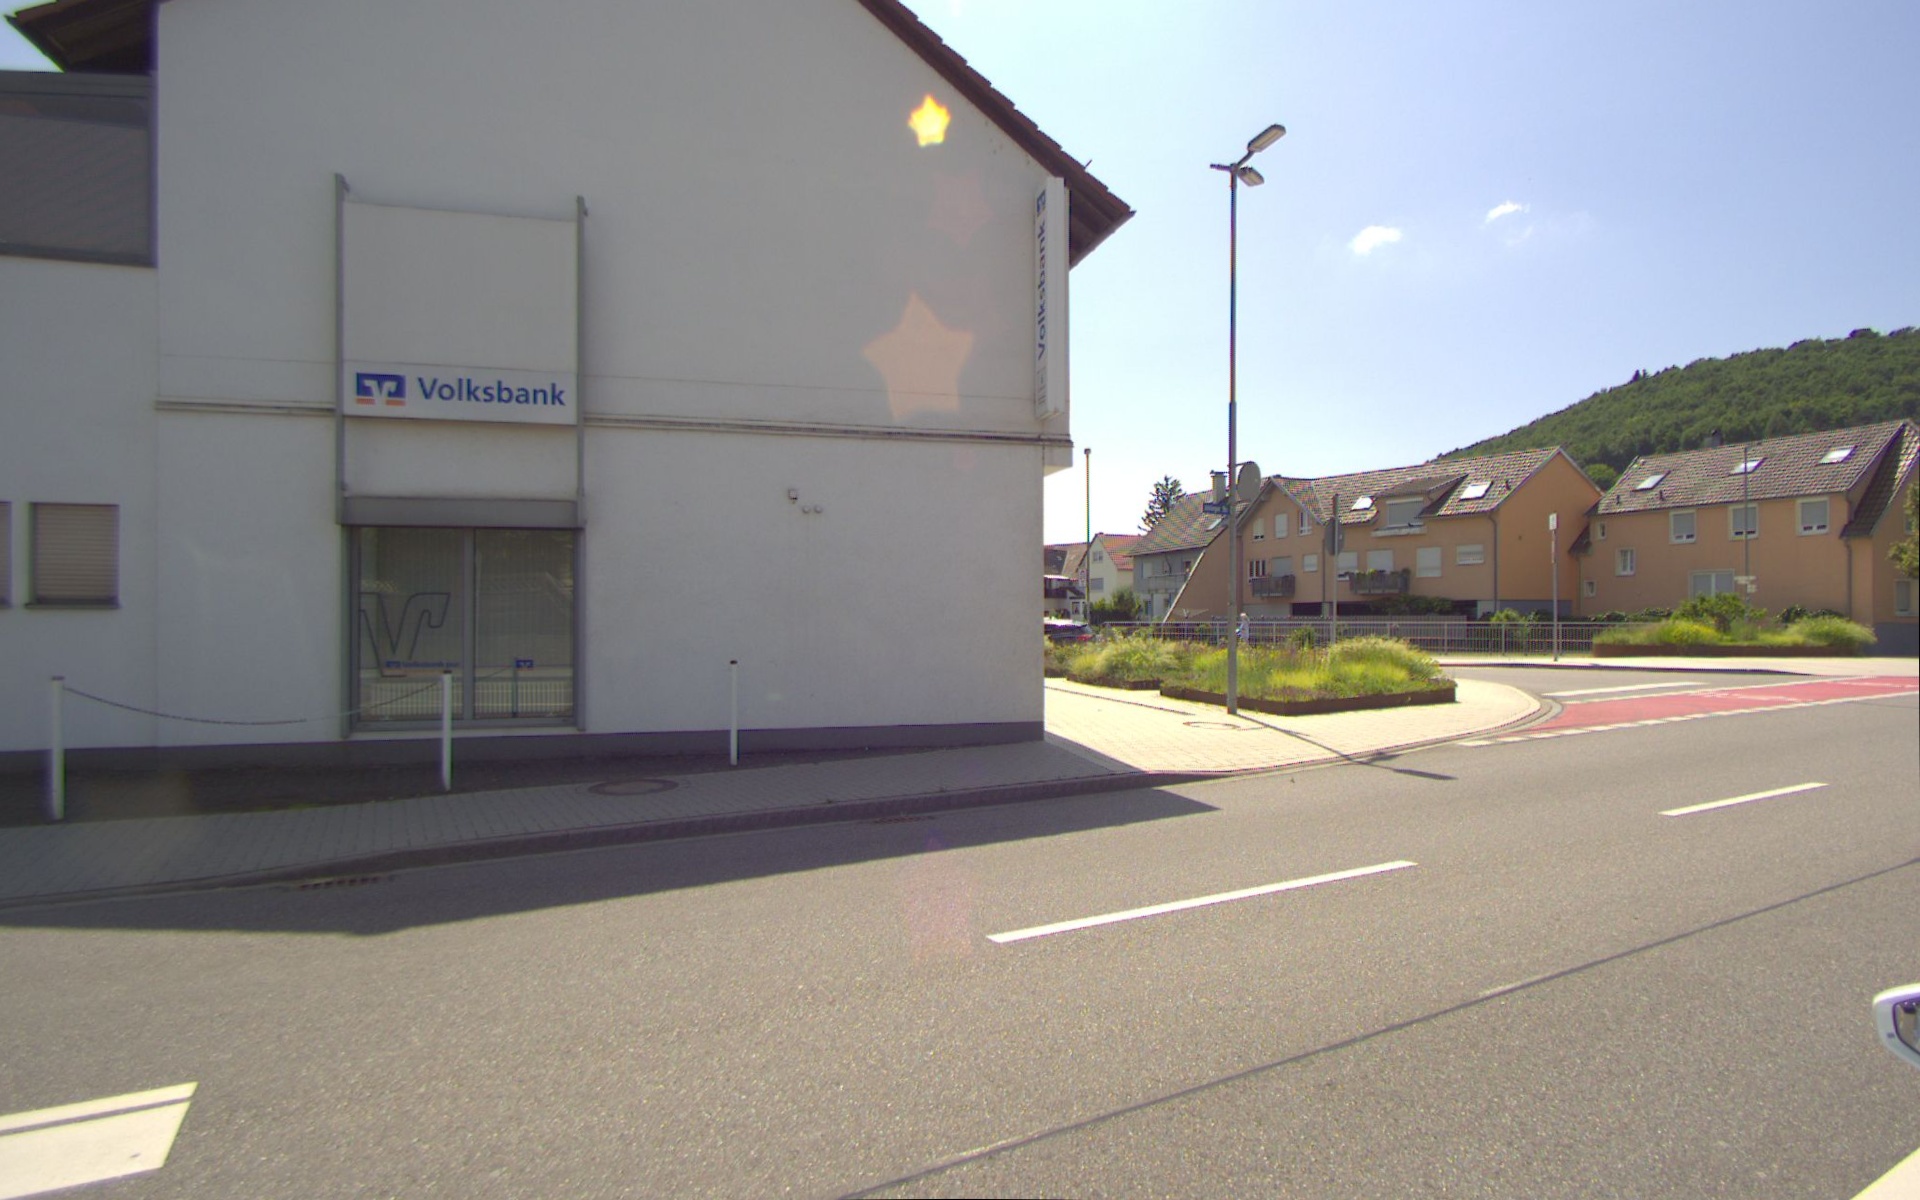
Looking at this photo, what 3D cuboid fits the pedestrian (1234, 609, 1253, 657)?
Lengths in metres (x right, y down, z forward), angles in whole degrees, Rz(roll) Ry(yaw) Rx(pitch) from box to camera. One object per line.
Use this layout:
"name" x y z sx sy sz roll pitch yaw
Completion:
"pedestrian" 10.529 1.213 37.331 0.603 1.772 0.506 0 -1 23

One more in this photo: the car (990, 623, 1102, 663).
"car" 3.306 1.617 38.422 3.921 1.483 1.861 -1 -1 19
